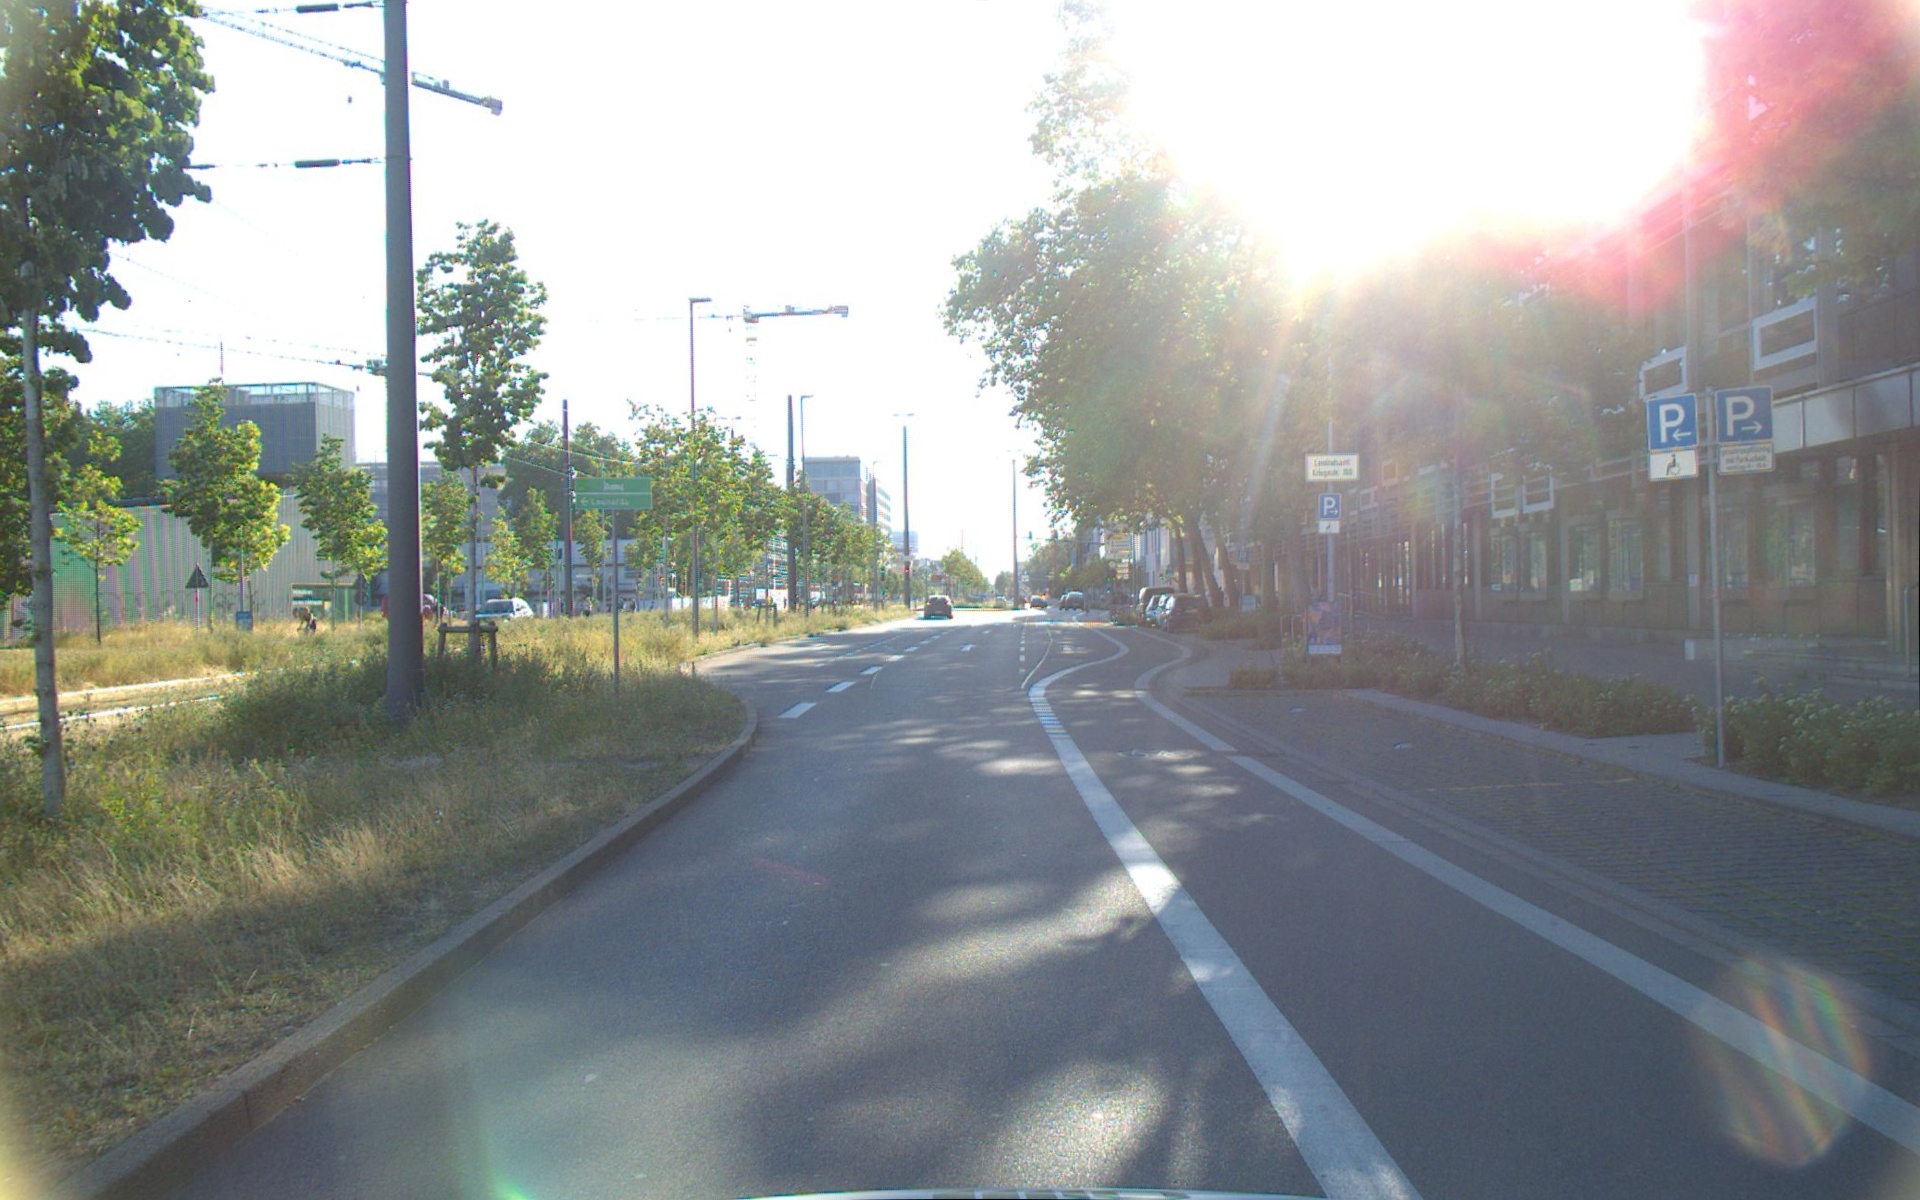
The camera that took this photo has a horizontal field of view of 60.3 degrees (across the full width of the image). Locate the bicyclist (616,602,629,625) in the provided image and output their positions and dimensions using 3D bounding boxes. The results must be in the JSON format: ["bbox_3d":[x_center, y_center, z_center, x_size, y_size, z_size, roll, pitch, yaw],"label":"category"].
[{"bbox_3d":[-22.340,0.902,109.496,0.571,1.467,1.076,-1,0,3],"label":"bicyclist"}]

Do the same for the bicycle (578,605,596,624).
[{"bbox_3d":[-21.828,0.865,96.887,0.547,1.078,1.899,-1,0,2],"label":"bicycle"}]

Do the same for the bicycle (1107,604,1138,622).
[{"bbox_3d":[8.967,0.718,91.323,1.656,0.882,0.573,-3,0,10],"label":"bicycle"}]

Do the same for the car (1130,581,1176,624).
[{"bbox_3d":[9.652,0.113,82.959,1.791,2.005,5.323,-3,0,2],"label":"car"}]

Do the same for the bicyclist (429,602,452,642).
[{"bbox_3d":[-22.977,0.980,73.136,0.673,1.738,0.954,-1,0,2],"label":"bicyclist"}]

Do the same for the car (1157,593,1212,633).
[{"bbox_3d":[8.759,0.481,64.787,1.671,1.443,4.278,-3,0,3],"label":"car"}]

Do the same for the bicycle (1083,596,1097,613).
[{"bbox_3d":[9.720,0.355,123.741,0.782,1.225,2.266,-1,0,10],"label":"bicycle"}]

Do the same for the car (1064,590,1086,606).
[{"bbox_3d":[10.936,-0.185,157.589,1.900,1.453,3.925,-1,0,0],"label":"car"}]

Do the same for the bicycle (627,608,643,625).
[{"bbox_3d":[-21.608,1.099,110.115,0.571,1.124,1.988,-1,0,3],"label":"bicycle"}]

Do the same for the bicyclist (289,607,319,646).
[{"bbox_3d":[-23.437,0.952,59.094,0.673,1.370,0.871,-1,0,0],"label":"bicyclist"}]

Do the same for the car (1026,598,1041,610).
[{"bbox_3d":[9.458,0.548,212.918,1.723,1.511,3.850,-1,0,0],"label":"car"}]

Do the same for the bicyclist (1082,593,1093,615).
[{"bbox_3d":[9.554,0.290,123.863,0.784,1.630,0.785,-1,0,0],"label":"bicyclist"}]

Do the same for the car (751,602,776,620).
[{"bbox_3d":[-20.187,1.088,169.923,1.952,1.807,4.001,-1,0,2],"label":"car"}]

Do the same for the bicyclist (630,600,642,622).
[{"bbox_3d":[-21.605,0.727,110.279,0.571,1.467,1.076,-1,0,3],"label":"bicyclist"}]

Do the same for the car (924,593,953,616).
[{"bbox_3d":[-1.369,0.277,105.630,1.740,1.453,4.000,0,0,0],"label":"car"}]

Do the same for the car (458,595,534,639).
[{"bbox_3d":[-20.010,0.688,71.533,1.832,1.796,4.813,-1,0,1],"label":"car"}]

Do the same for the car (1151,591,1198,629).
[{"bbox_3d":[9.218,0.400,71.317,1.646,1.504,3.875,-3,0,3],"label":"car"}]

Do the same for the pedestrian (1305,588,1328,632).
[{"bbox_3d":[15.392,0.414,71.474,0.814,1.888,0.847,-1,0,1],"label":"pedestrian"}]

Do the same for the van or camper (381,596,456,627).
[{"bbox_3d":[-45.282,0.926,138.425,5.541,2.456,2.156,-1,0,3],"label":"van or camper"}]

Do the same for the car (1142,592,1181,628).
[{"bbox_3d":[9.341,0.431,77.027,1.646,1.540,5.062,-3,0,6],"label":"car"}]

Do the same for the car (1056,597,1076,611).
[{"bbox_3d":[11.373,0.426,178.380,1.900,1.511,3.925,-1,0,0],"label":"car"}]

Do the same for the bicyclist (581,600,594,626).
[{"bbox_3d":[-21.818,0.753,96.934,0.545,1.533,0.668,-1,0,2],"label":"bicyclist"}]

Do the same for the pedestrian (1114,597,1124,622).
[{"bbox_3d":[11.580,0.687,120.827,0.621,1.732,0.570,-3,0,3],"label":"pedestrian"}]

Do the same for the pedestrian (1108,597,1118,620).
[{"bbox_3d":[11.112,0.630,120.107,0.621,1.636,0.570,-3,0,3],"label":"pedestrian"}]

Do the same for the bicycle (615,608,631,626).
[{"bbox_3d":[-22.330,1.123,109.549,0.571,1.124,1.988,-1,0,3],"label":"bicycle"}]

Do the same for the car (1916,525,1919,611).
[{"bbox_3d":[4.516,0.542,3.974,1.693,1.717,4.513,-3,0,-1],"label":"car"}]

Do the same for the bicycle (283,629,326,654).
[{"bbox_3d":[-23.421,1.488,59.156,0.673,0.818,2.145,-1,0,0],"label":"bicycle"}]
